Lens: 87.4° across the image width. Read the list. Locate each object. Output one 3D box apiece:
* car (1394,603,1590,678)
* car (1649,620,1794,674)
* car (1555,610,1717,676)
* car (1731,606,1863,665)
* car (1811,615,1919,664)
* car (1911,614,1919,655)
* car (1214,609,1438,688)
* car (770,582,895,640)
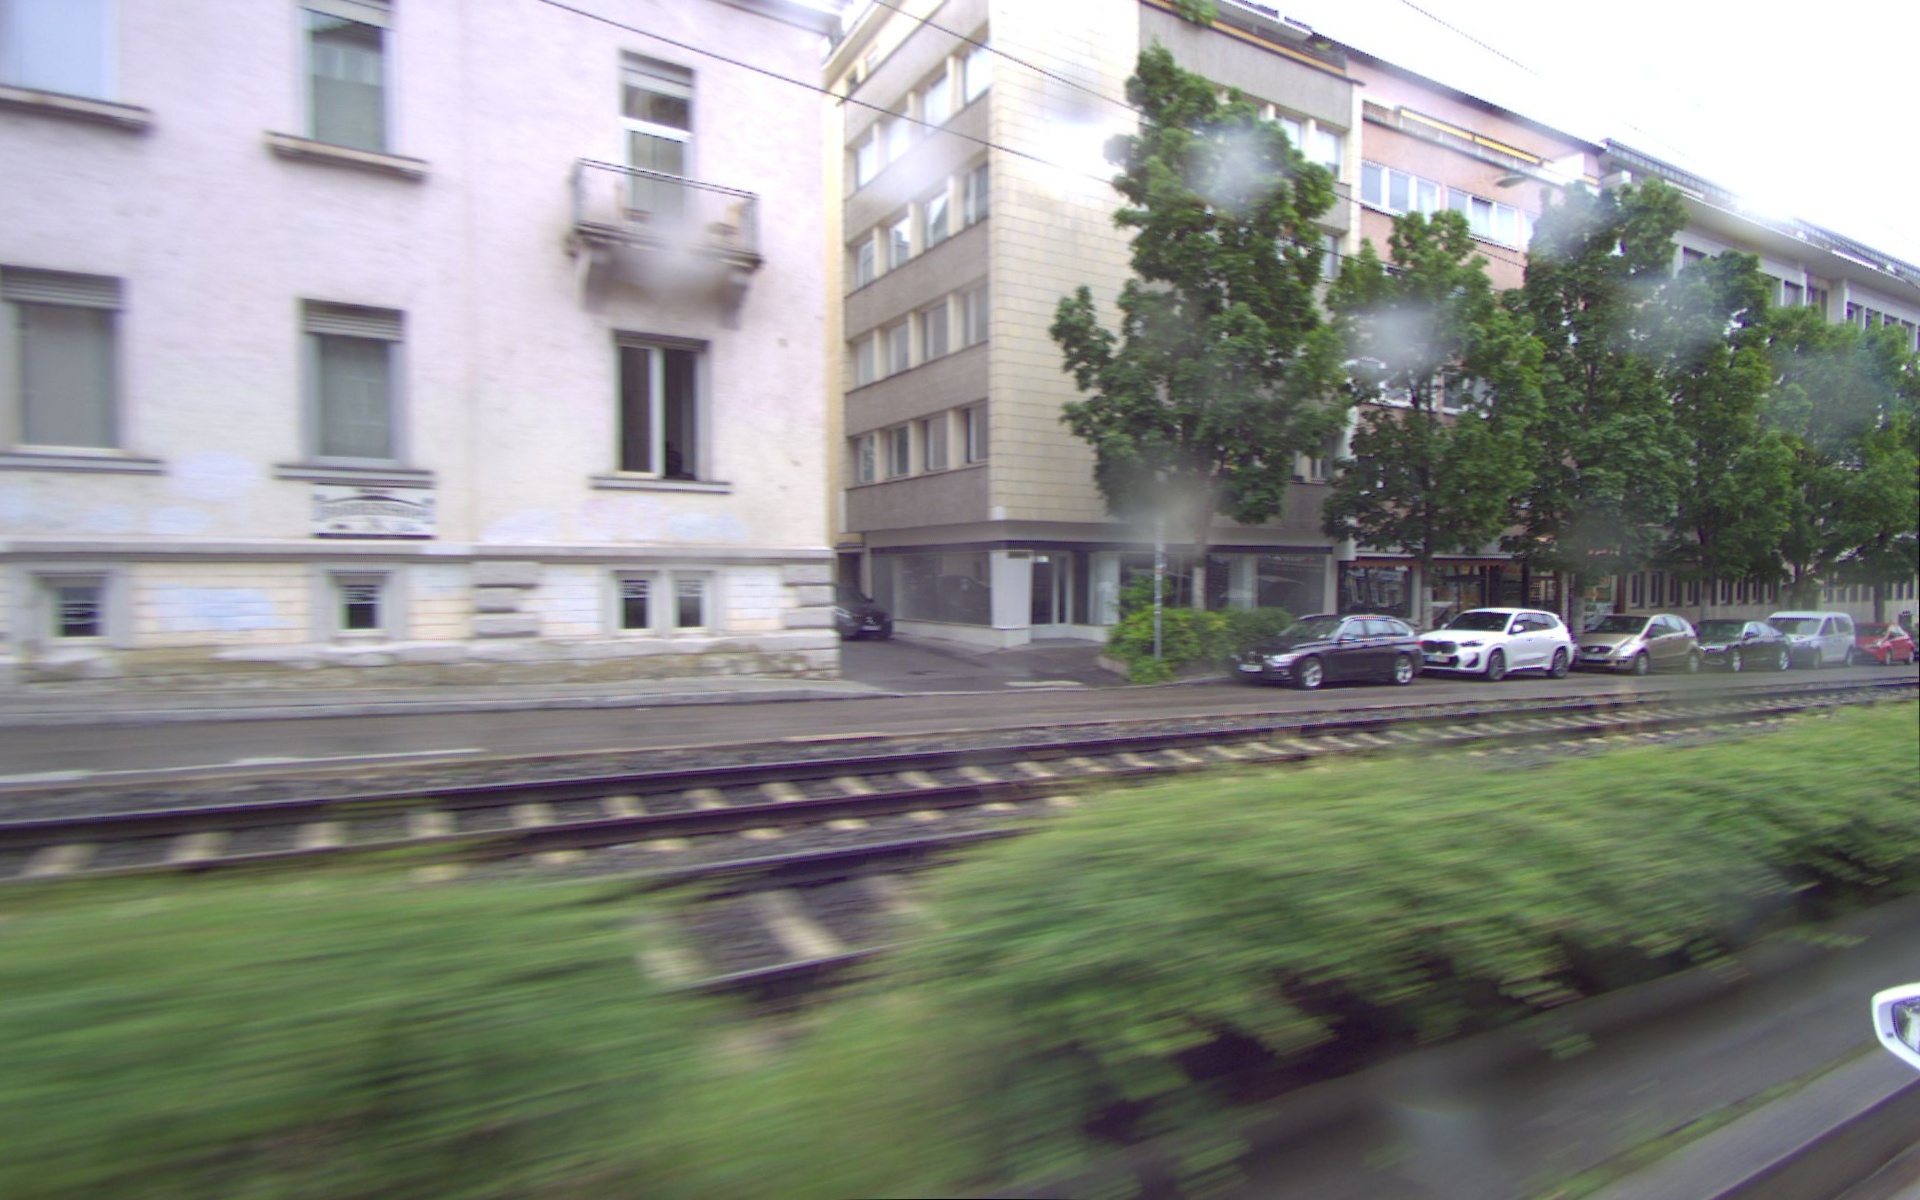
[{"bbox_3d":[12.562,0.962,23.646,4.666,1.569,1.846,3,0,-30],"label":"car"},{"bbox_3d":[22.179,1.374,29.217,4.380,1.436,1.847,3,-2,-30],"label":"car"},{"bbox_3d":[18.119,1.162,26.879,4.380,1.569,1.846,3,0,-30],"label":"car"},{"bbox_3d":[27.022,1.157,32.407,4.380,1.723,1.846,3,0,-30],"label":"car"},{"bbox_3d":[32.228,1.402,35.646,3.999,1.547,1.846,3,0,-30],"label":"car"},{"bbox_3d":[38.664,1.411,38.837,3.999,1.579,1.660,3,0,-30],"label":"car"},{"bbox_3d":[7.517,1.015,20.500,4.666,1.396,1.685,3,0,-30],"label":"car"},{"bbox_3d":[-3.645,0.270,28.080,1.840,1.437,4.393,2,0,-31],"label":"car"}]
